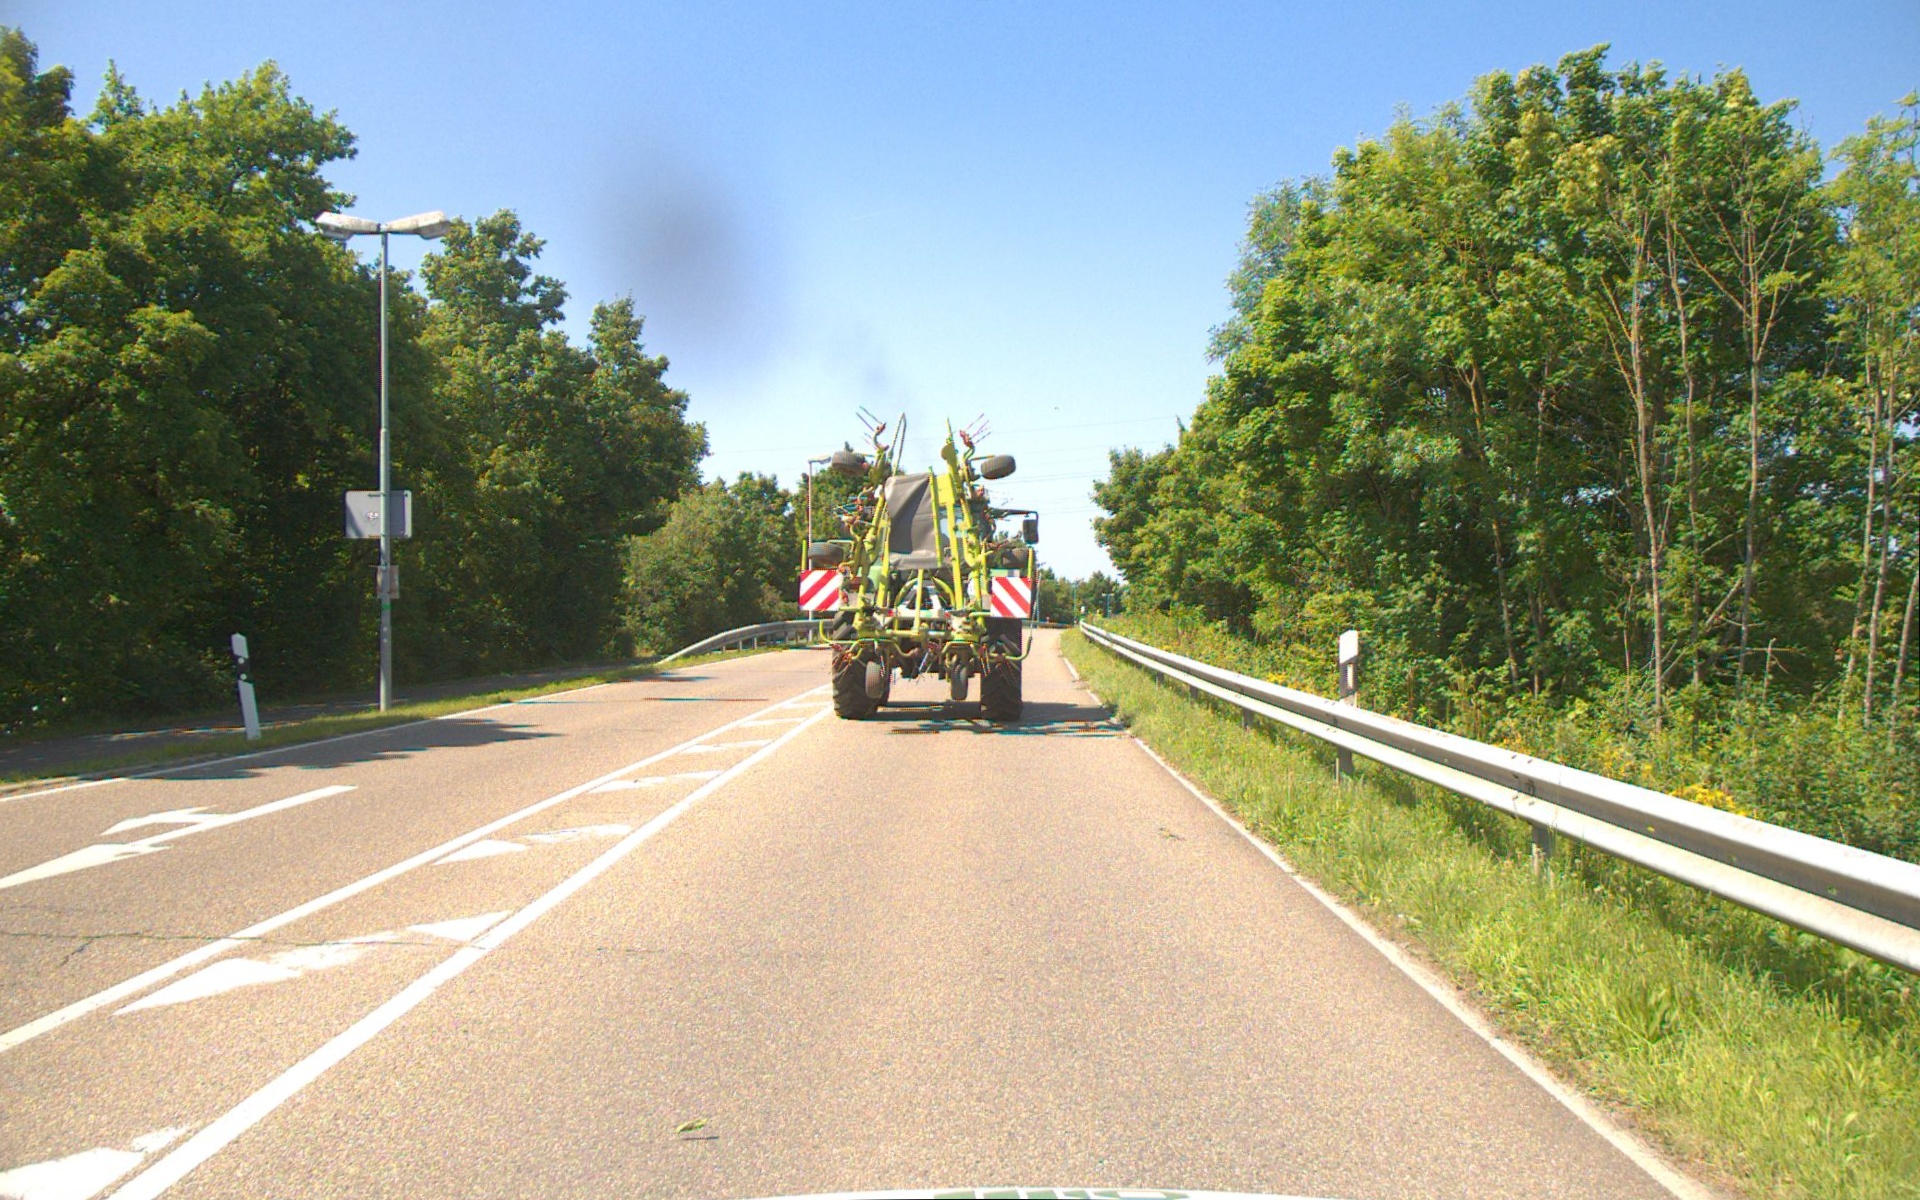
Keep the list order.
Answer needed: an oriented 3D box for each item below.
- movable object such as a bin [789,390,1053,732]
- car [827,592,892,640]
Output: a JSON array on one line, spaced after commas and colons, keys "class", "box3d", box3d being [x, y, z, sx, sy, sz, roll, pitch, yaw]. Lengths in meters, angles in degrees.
[{"class": "movable object such as a bin", "box3d": [-0.357, -0.406, 19.838, 2.698, 3.504, 5.670, 0, 0, 1]}, {"class": "car", "box3d": [-3.038, 0.475, 50.592, 1.593, 1.429, 3.434, 0, 0, 3]}]
